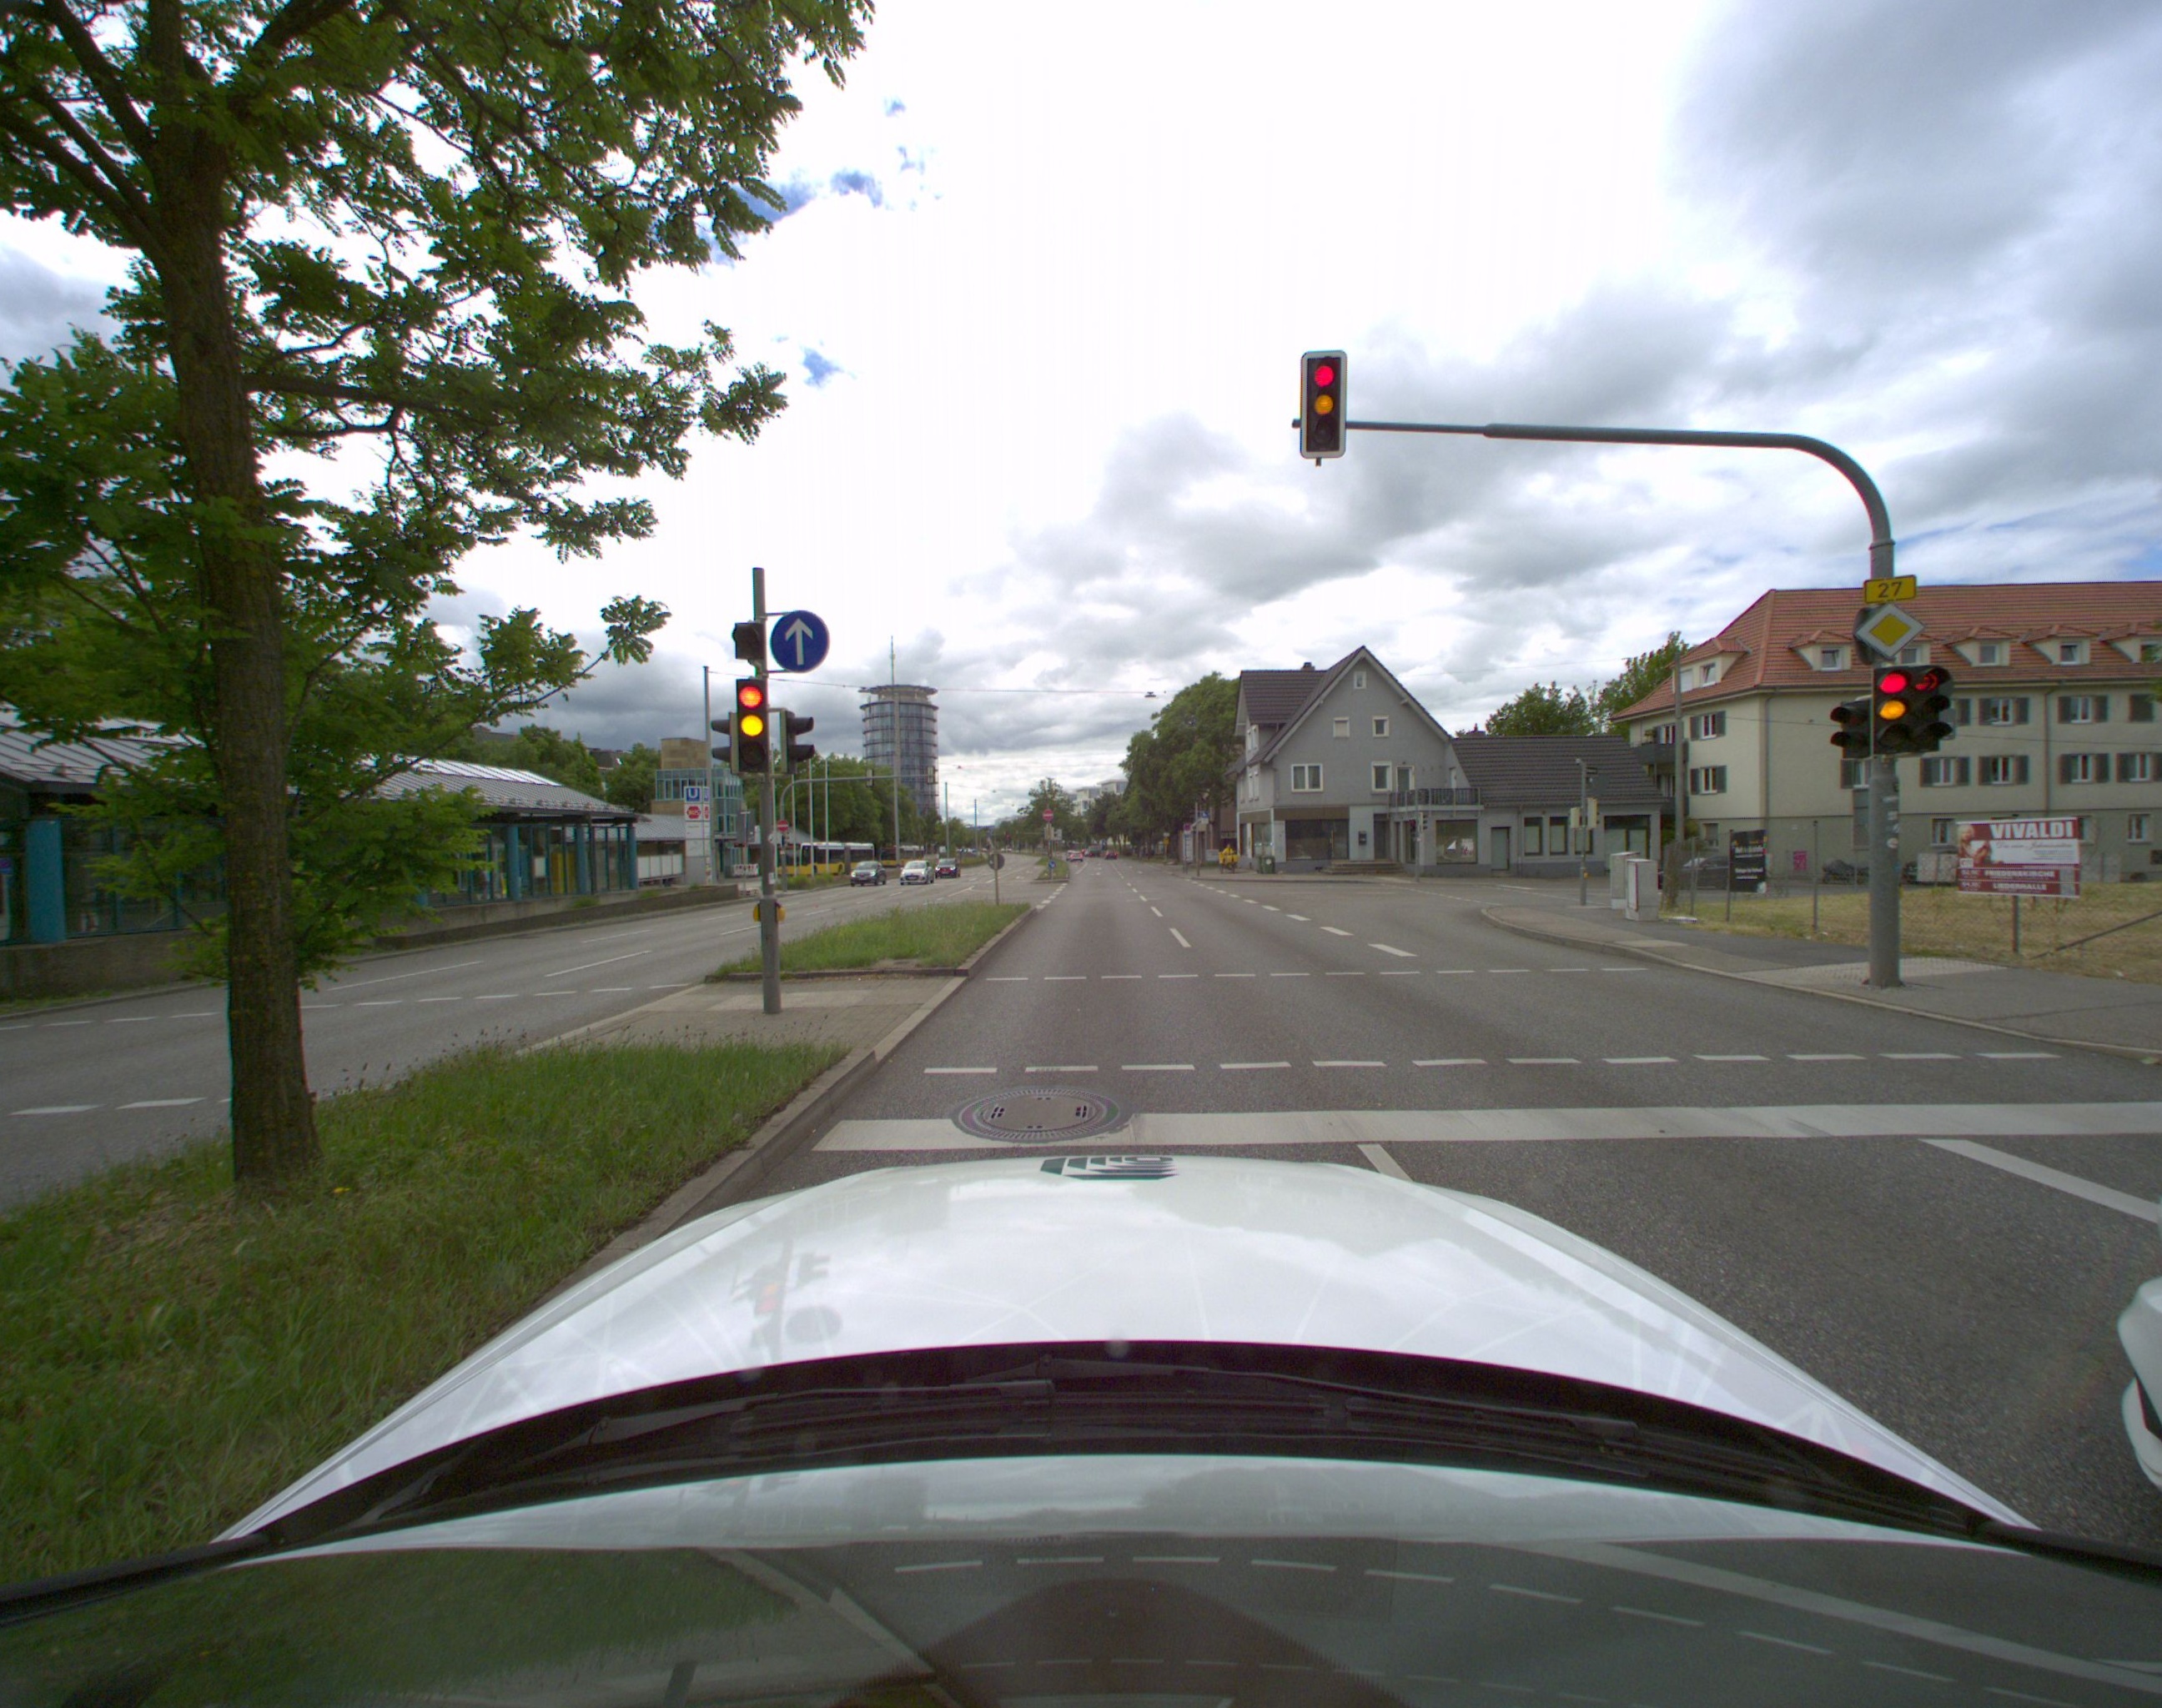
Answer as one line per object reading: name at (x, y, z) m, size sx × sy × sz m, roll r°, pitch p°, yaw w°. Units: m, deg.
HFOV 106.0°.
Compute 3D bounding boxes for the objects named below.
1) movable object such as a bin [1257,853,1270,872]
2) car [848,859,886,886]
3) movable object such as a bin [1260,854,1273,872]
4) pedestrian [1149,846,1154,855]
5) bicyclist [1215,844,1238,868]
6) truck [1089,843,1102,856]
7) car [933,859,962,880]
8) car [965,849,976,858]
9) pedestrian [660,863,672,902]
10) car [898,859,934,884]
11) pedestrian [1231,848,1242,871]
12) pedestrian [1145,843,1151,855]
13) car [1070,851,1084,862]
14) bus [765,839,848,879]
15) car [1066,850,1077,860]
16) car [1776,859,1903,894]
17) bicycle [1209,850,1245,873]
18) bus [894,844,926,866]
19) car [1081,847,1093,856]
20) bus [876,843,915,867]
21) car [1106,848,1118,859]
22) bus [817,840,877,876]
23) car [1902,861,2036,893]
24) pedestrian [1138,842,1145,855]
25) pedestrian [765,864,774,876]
movable object such as a bin at (10.040, 0.462, 44.750) m, size 0.527 × 0.979 × 0.737 m, roll -2°, pitch 0°, yaw 2°
car at (-13.491, 1.158, 51.532) m, size 1.681 × 1.578 × 3.344 m, roll -2°, pitch 0°, yaw -4°
movable object such as a bin at (10.034, 0.484, 43.959) m, size 0.527 × 0.979 × 0.737 m, roll -2°, pitch 0°, yaw 2°
pedestrian at (12.016, -0.629, 138.486) m, size 0.649 × 1.570 × 0.669 m, roll -2°, pitch 0°, yaw -6°
bicyclist at (8.336, 0.123, 46.604) m, size 1.076 × 1.357 × 0.625 m, roll -2°, pitch 0°, yaw -14°
truck at (2.743, -0.793, 156.672) m, size 2.246 × 2.416 × 4.928 m, roll -1°, pitch 0°, yaw -3°
car at (-10.386, 1.182, 63.476) m, size 1.697 × 1.492 × 3.560 m, roll -2°, pitch 0°, yaw -1°
car at (-27.275, -0.139, 201.214) m, size 1.958 × 2.014 × 4.001 m, roll 0°, pitch -1°, yaw 2°
pedestrian at (-17.316, 1.182, 34.000) m, size 0.420 × 1.591 × 0.353 m, roll -2°, pitch 0°, yaw -28°
car at (-10.338, 1.066, 51.322) m, size 1.680 × 1.462 × 3.552 m, roll -2°, pitch 0°, yaw -3°
pedestrian at (12.765, 0.430, 66.914) m, size 0.701 × 1.780 × 0.871 m, roll 3°, pitch -4°, yaw 8°
pedestrian at (11.100, -0.882, 134.841) m, size 0.967 × 1.976 × 0.981 m, roll 0°, pitch -1°, yaw 1°
car at (-0.612, 0.329, 119.863) m, size 1.988 × 1.477 × 4.254 m, roll -2°, pitch 0°, yaw -1°
bus at (-24.325, 0.418, 72.866) m, size 2.975 × 3.250 × 10.186 m, roll -2°, pitch 0°, yaw 6°
car at (-1.513, 0.179, 130.491) m, size 1.817 × 1.540 × 4.113 m, roll -1°, pitch 0°, yaw -1°
car at (34.045, 0.989, 36.620) m, size 3.972 × 1.537 × 1.871 m, roll 0°, pitch 0°, yaw 2°
bicycle at (8.336, 0.421, 46.634) m, size 1.076 × 1.217 × 2.427 m, roll -2°, pitch 0°, yaw -14°
bus at (-26.045, 0.145, 124.324) m, size 3.134 × 3.225 × 7.765 m, roll -2°, pitch 0°, yaw 0°
car at (1.276, -0.530, 174.107) m, size 2.246 × 1.647 × 4.927 m, roll -2°, pitch 0°, yaw -3°
bus at (-26.101, 0.118, 115.315) m, size 3.135 × 3.225 × 10.282 m, roll -2°, pitch 0°, yaw 0°
car at (4.942, -0.101, 129.058) m, size 1.881 × 1.494 × 4.101 m, roll -3°, pitch -2°, yaw 3°
bus at (-23.354, 0.386, 81.865) m, size 2.975 × 3.270 × 7.889 m, roll -2°, pitch 0°, yaw 6°
car at (39.815, 1.026, 36.583) m, size 3.972 × 1.377 × 1.871 m, roll 0°, pitch 0°, yaw 2°
pedestrian at (10.005, -0.892, 134.915) m, size 0.967 × 2.014 × 0.981 m, roll 0°, pitch -1°, yaw 1°
pedestrian at (-27.386, 1.426, 71.563) m, size 0.521 × 1.057 × 0.588 m, roll 0°, pitch -1°, yaw 1°
